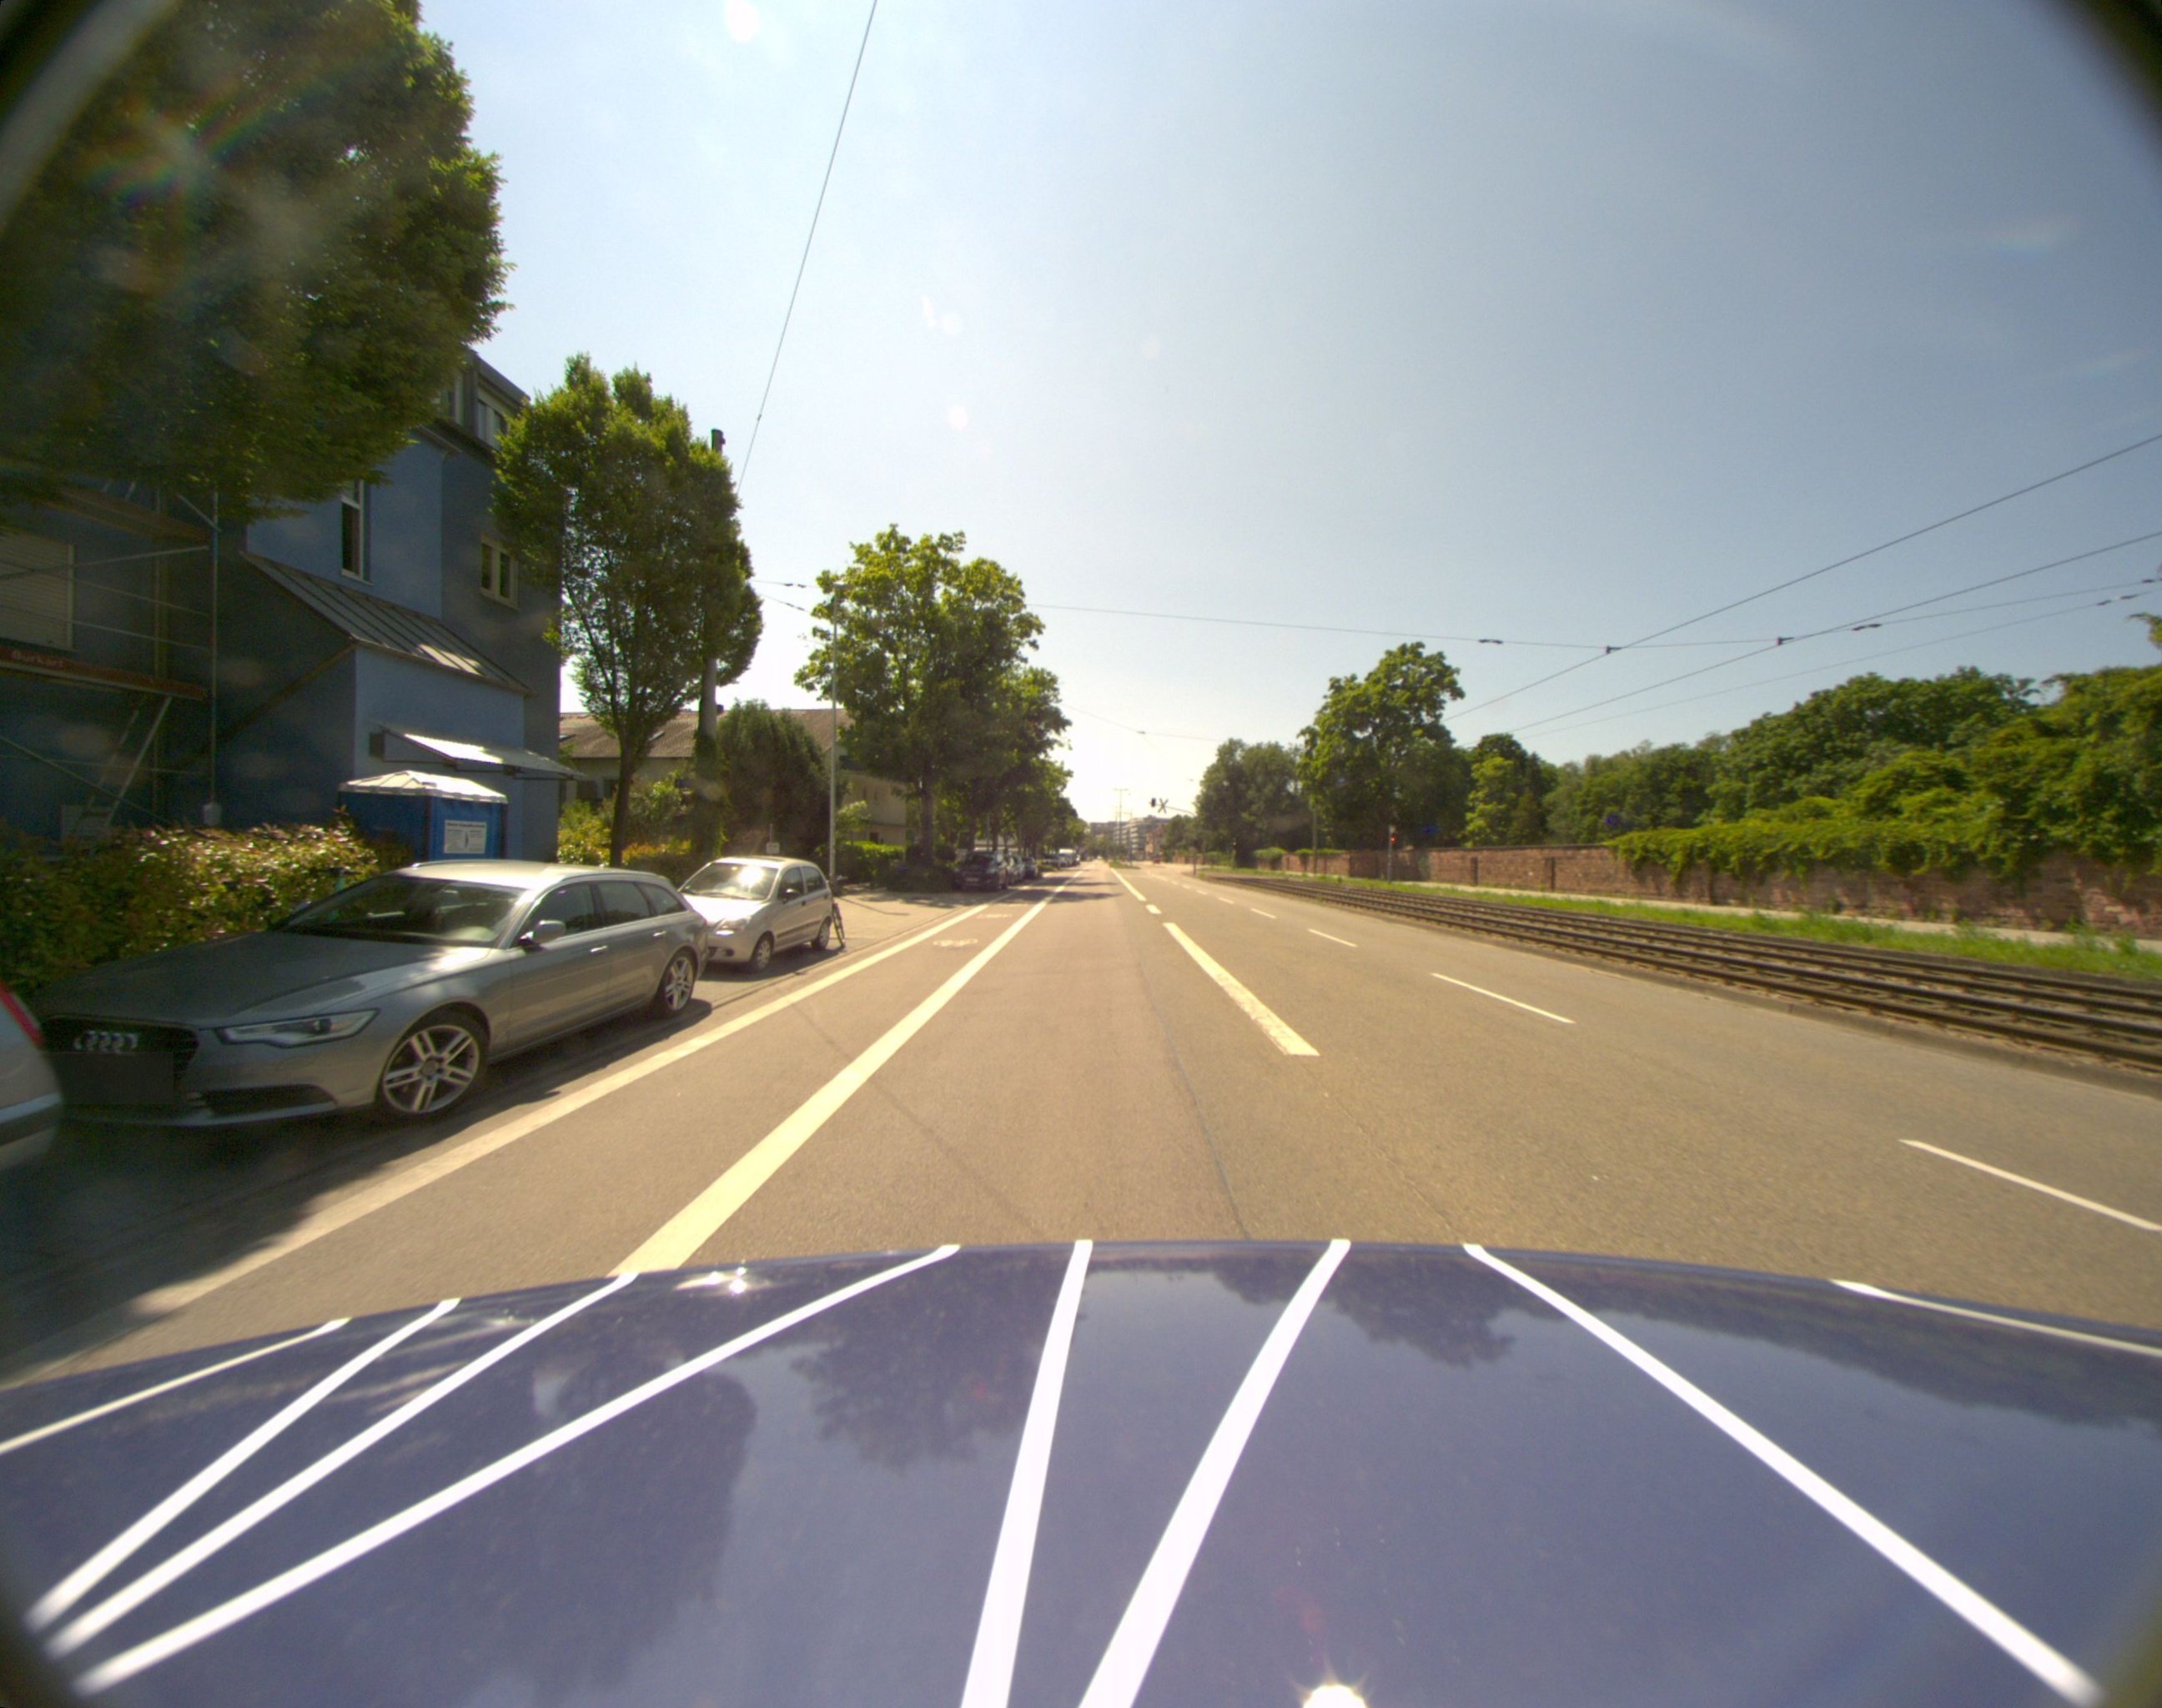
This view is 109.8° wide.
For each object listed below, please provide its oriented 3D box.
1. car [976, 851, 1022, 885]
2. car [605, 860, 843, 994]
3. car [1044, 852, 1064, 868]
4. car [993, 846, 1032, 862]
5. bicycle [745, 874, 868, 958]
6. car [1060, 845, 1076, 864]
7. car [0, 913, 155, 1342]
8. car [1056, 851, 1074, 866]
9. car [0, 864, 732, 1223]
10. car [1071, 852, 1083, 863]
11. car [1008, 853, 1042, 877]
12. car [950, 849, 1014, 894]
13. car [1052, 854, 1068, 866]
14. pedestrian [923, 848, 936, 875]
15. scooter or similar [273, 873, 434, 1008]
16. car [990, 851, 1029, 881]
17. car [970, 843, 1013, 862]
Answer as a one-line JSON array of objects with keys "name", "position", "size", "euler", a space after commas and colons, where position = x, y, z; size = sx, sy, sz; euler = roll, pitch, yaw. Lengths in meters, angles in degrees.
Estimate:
[{"name": "car", "position": [-4.092, 0.690, 38.637], "size": [1.845, 1.520, 4.353], "euler": [3, 0, -1]}, {"name": "car", "position": [-4.936, 0.905, 11.137], "size": [1.522, 1.520, 3.817], "euler": [3, 0, 2]}, {"name": "car", "position": [-2.891, 0.631, 81.956], "size": [1.716, 1.623, 4.708], "euler": [3, 1, 1]}, {"name": "car", "position": [-11.639, 0.051, 129.441], "size": [6.354, 2.514, 2.264], "euler": [-1, 0, 5]}, {"name": "bicycle", "position": [-4.737, 1.049, 13.173], "size": [1.777, 1.221, 0.684], "euler": [6, 1, 6]}, {"name": "car", "position": [-1.842, 0.139, 111.791], "size": [2.002, 2.621, 6.143], "euler": [3, 0, 1]}, {"name": "car", "position": [-4.976, 0.986, 1.142], "size": [1.845, 1.520, 4.217], "euler": [3, 0, 3]}, {"name": "car", "position": [-2.147, 0.595, 104.860], "size": [2.002, 1.867, 5.277], "euler": [3, 0, 3]}, {"name": "car", "position": [-4.835, 0.924, 6.023], "size": [1.845, 1.520, 4.965], "euler": [3, 0, -1]}, {"name": "car", "position": [-0.753, 0.686, 141.294], "size": [1.884, 1.905, 5.125], "euler": [3, 0, 2]}, {"name": "car", "position": [-3.637, 0.709, 50.127], "size": [1.845, 1.427, 4.824], "euler": [3, 0, 0]}, {"name": "car", "position": [-4.197, 0.718, 32.783], "size": [1.845, 1.696, 4.627], "euler": [3, 0, 3]}, {"name": "car", "position": [-2.564, 0.712, 94.015], "size": [1.716, 1.410, 4.708], "euler": [3, 0, 0]}, {"name": "pedestrian", "position": [-9.678, 0.462, 48.570], "size": [0.749, 1.712, 0.632], "euler": [0, 1, -5]}, {"name": "scooter or similar", "position": [-7.656, 0.859, 8.070], "size": [0.385, 1.272, 1.339], "euler": [0, 0, 1]}, {"name": "car", "position": [-4.102, 0.667, 44.251], "size": [1.845, 1.520, 4.205], "euler": [3, 0, -1]}, {"name": "car", "position": [-12.290, -0.222, 104.789], "size": [5.503, 2.445, 2.095], "euler": [-1, 0, 2]}]
